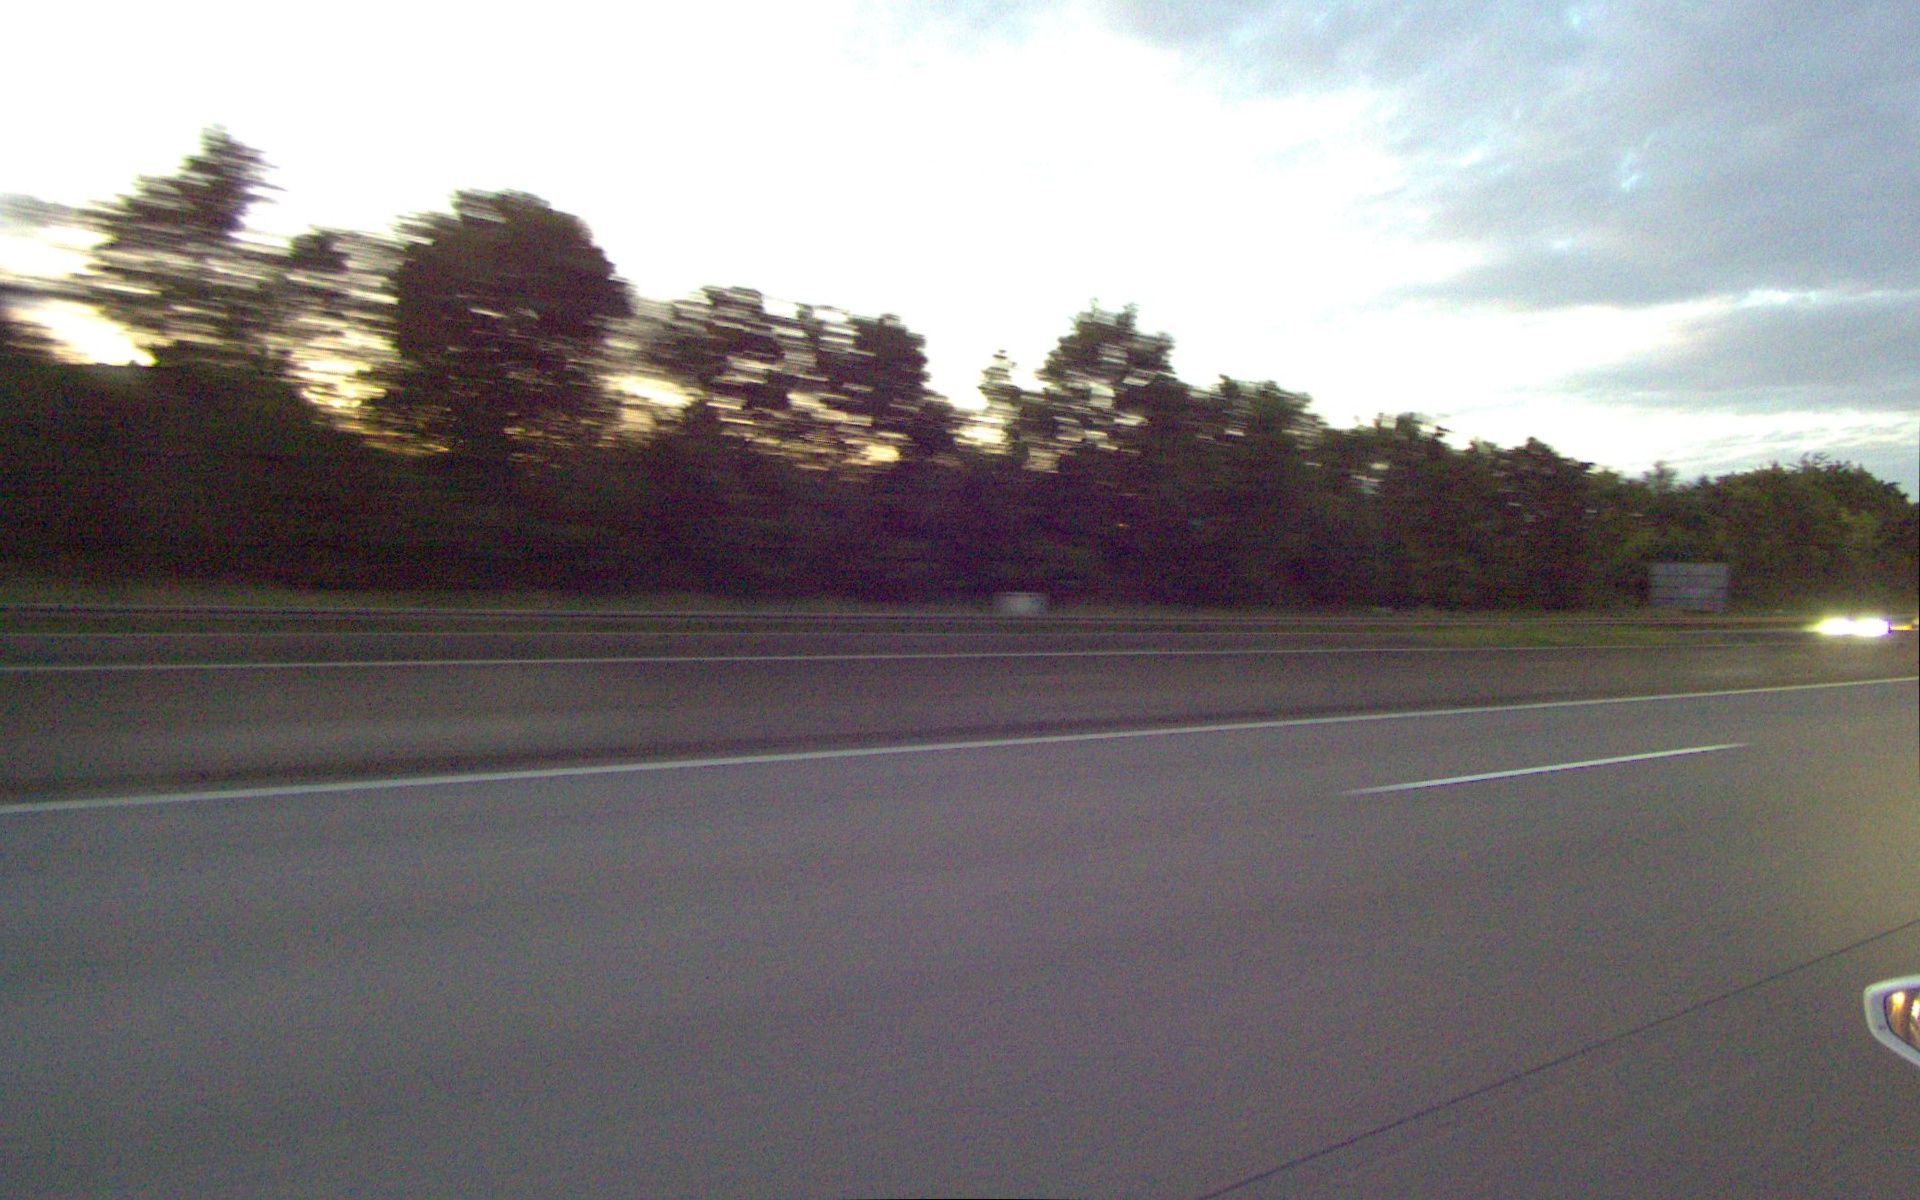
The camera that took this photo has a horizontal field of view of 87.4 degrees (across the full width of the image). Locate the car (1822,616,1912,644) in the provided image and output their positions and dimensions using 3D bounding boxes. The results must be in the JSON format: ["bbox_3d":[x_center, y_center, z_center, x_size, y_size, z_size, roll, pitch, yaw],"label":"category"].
[{"bbox_3d":[46.294,1.558,51.225,5.176,1.242,2.048,2,0,-32],"label":"car"}]
